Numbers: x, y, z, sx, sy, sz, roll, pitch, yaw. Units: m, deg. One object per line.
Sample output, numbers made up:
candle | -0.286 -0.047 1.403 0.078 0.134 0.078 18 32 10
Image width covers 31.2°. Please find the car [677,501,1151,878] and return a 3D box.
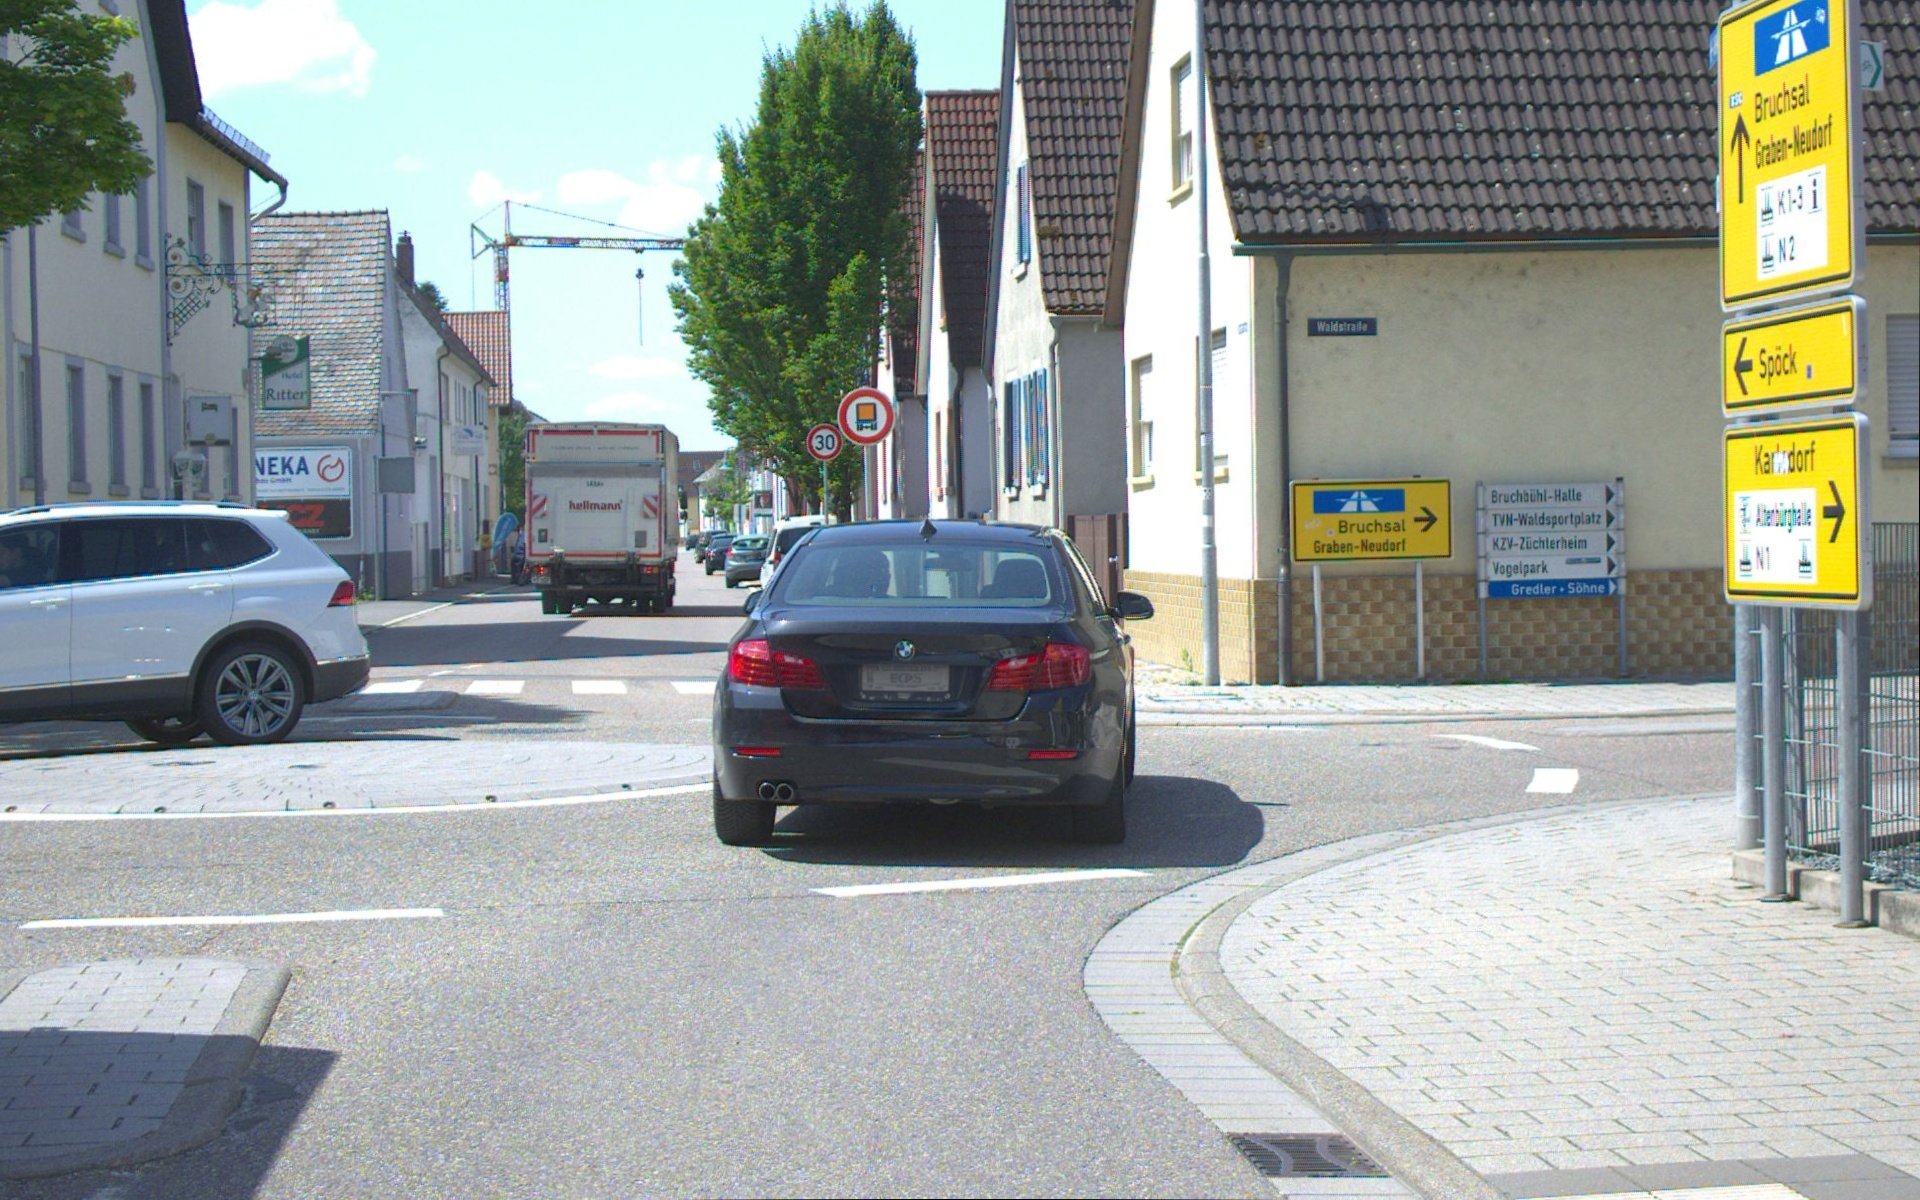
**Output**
car | -0.071 0.320 16.715 1.902 1.558 4.476 -1 1 4

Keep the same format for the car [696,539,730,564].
car | -12.554 -2.473 174.603 1.719 1.264 4.157 -1 1 -5

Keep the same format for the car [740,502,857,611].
car | -2.874 -0.783 60.574 1.719 1.784 4.145 -3 1 -6

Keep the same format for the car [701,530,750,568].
car | -8.587 -1.866 125.537 1.719 1.350 4.157 -1 1 -5

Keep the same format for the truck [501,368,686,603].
truck | -7.036 -2.132 67.189 3.144 4.236 9.303 1 1 -4

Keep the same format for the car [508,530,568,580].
car | -13.631 -1.473 111.187 1.809 1.583 4.001 -1 1 -5

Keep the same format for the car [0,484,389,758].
car | -6.293 0.132 22.811 4.528 1.704 1.872 -2 2 -32

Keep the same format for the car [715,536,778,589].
car | -6.041 -1.085 97.458 1.719 1.456 4.157 -1 1 -3
